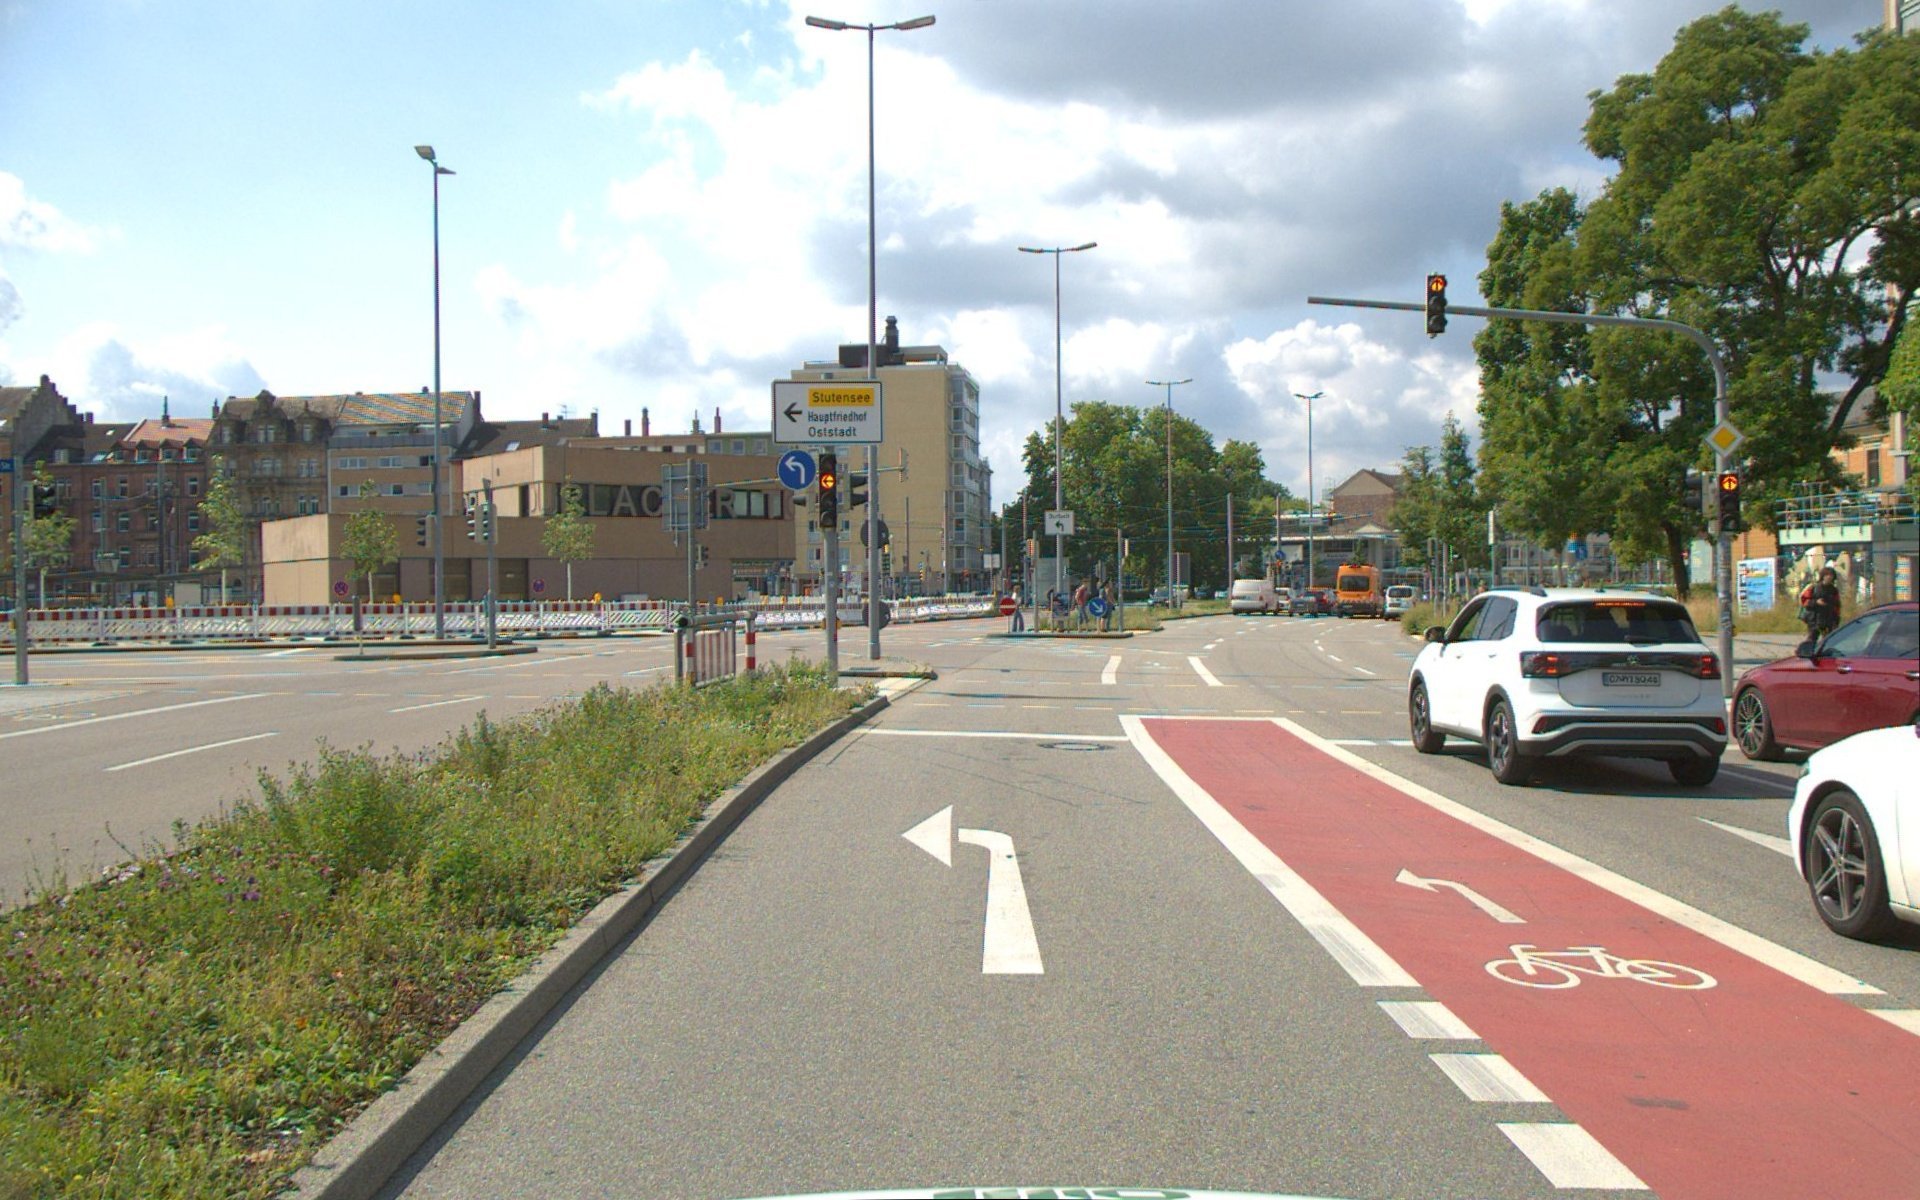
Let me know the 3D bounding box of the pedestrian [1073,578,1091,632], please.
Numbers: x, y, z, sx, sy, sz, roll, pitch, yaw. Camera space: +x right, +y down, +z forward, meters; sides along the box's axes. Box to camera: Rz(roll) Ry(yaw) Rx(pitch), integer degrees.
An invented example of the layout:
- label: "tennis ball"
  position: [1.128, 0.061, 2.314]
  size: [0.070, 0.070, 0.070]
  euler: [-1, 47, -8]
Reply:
- label: "pedestrian"
  position: [4.043, 0.157, 54.613]
  size: [0.513, 1.764, 0.624]
  euler: [-1, 0, 10]

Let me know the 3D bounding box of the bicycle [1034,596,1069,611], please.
- label: "bicycle"
  position: [6.537, 0.262, 118.359]
  size: [2.330, 1.085, 0.858]
  euler: [-1, 0, 21]

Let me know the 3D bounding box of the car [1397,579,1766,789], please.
- label: "car"
  position: [5.238, 0.620, 14.541]
  size: [1.754, 1.566, 4.011]
  euler: [1, 1, 1]

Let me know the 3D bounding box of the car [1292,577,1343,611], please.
- label: "car"
  position: [20.226, -0.366, 93.393]
  size: [1.954, 1.858, 3.997]
  euler: [-1, 0, 25]

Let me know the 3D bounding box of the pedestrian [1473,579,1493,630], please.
- label: "pedestrian"
  position: [18.272, 0.141, 57.788]
  size: [0.646, 1.764, 0.578]
  euler: [-1, 0, 19]

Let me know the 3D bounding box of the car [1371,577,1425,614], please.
- label: "car"
  position: [22.437, -0.234, 84.636]
  size: [1.954, 1.826, 3.997]
  euler: [-1, 0, 25]

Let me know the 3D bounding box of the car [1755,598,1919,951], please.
- label: "car"
  position: [4.917, 0.737, 6.145]
  size: [1.864, 1.448, 4.385]
  euler: [-1, 1, 1]

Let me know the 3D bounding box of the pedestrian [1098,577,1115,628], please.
- label: "pedestrian"
  position: [5.012, 0.082, 56.627]
  size: [0.513, 1.713, 0.624]
  euler: [-1, 0, 10]

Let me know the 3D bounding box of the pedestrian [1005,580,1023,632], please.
- label: "pedestrian"
  position: [1.845, 0.209, 56.549]
  size: [0.513, 1.764, 0.624]
  euler: [-1, 0, 10]

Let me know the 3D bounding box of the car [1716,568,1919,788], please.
- label: "car"
  position: [8.104, 0.575, 13.706]
  size: [1.646, 1.670, 4.463]
  euler: [0, 1, 0]

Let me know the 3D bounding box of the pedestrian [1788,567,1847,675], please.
- label: "pedestrian"
  position: [14.271, 0.343, 27.525]
  size: [0.726, 1.766, 0.679]
  euler: [-1, 0, 15]

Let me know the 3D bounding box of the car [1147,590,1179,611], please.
- label: "car"
  position: [14.037, 0.043, 114.336]
  size: [1.754, 1.412, 4.231]
  euler: [0, 0, 13]

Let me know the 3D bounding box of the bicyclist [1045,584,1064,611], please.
- label: "bicyclist"
  position: [6.754, -0.171, 118.282]
  size: [1.194, 1.943, 0.858]
  euler: [-1, 0, 21]

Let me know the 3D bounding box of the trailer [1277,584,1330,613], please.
- label: "trailer"
  position: [18.785, -0.097, 90.373]
  size: [1.954, 1.503, 3.997]
  euler: [-1, 0, 25]

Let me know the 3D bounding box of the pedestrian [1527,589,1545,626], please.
- label: "pedestrian"
  position: [28.836, 0.381, 82.826]
  size: [0.772, 1.815, 0.667]
  euler: [-1, 0, 23]

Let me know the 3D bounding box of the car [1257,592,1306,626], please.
- label: "car"
  position: [19.594, 0.516, 100.702]
  size: [1.951, 1.972, 4.637]
  euler: [-1, 0, 24]

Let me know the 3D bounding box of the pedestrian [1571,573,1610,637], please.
- label: "pedestrian"
  position: [15.321, 0.121, 40.178]
  size: [0.754, 1.534, 0.552]
  euler: [0, 0, 5]

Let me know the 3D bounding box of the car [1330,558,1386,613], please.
- label: "car"
  position: [21.477, -0.768, 89.140]
  size: [2.087, 2.829, 4.637]
  euler: [-1, 0, 24]

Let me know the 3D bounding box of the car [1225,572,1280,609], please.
- label: "car"
  position: [16.457, -0.531, 92.789]
  size: [1.965, 2.001, 4.637]
  euler: [-1, 0, 24]
